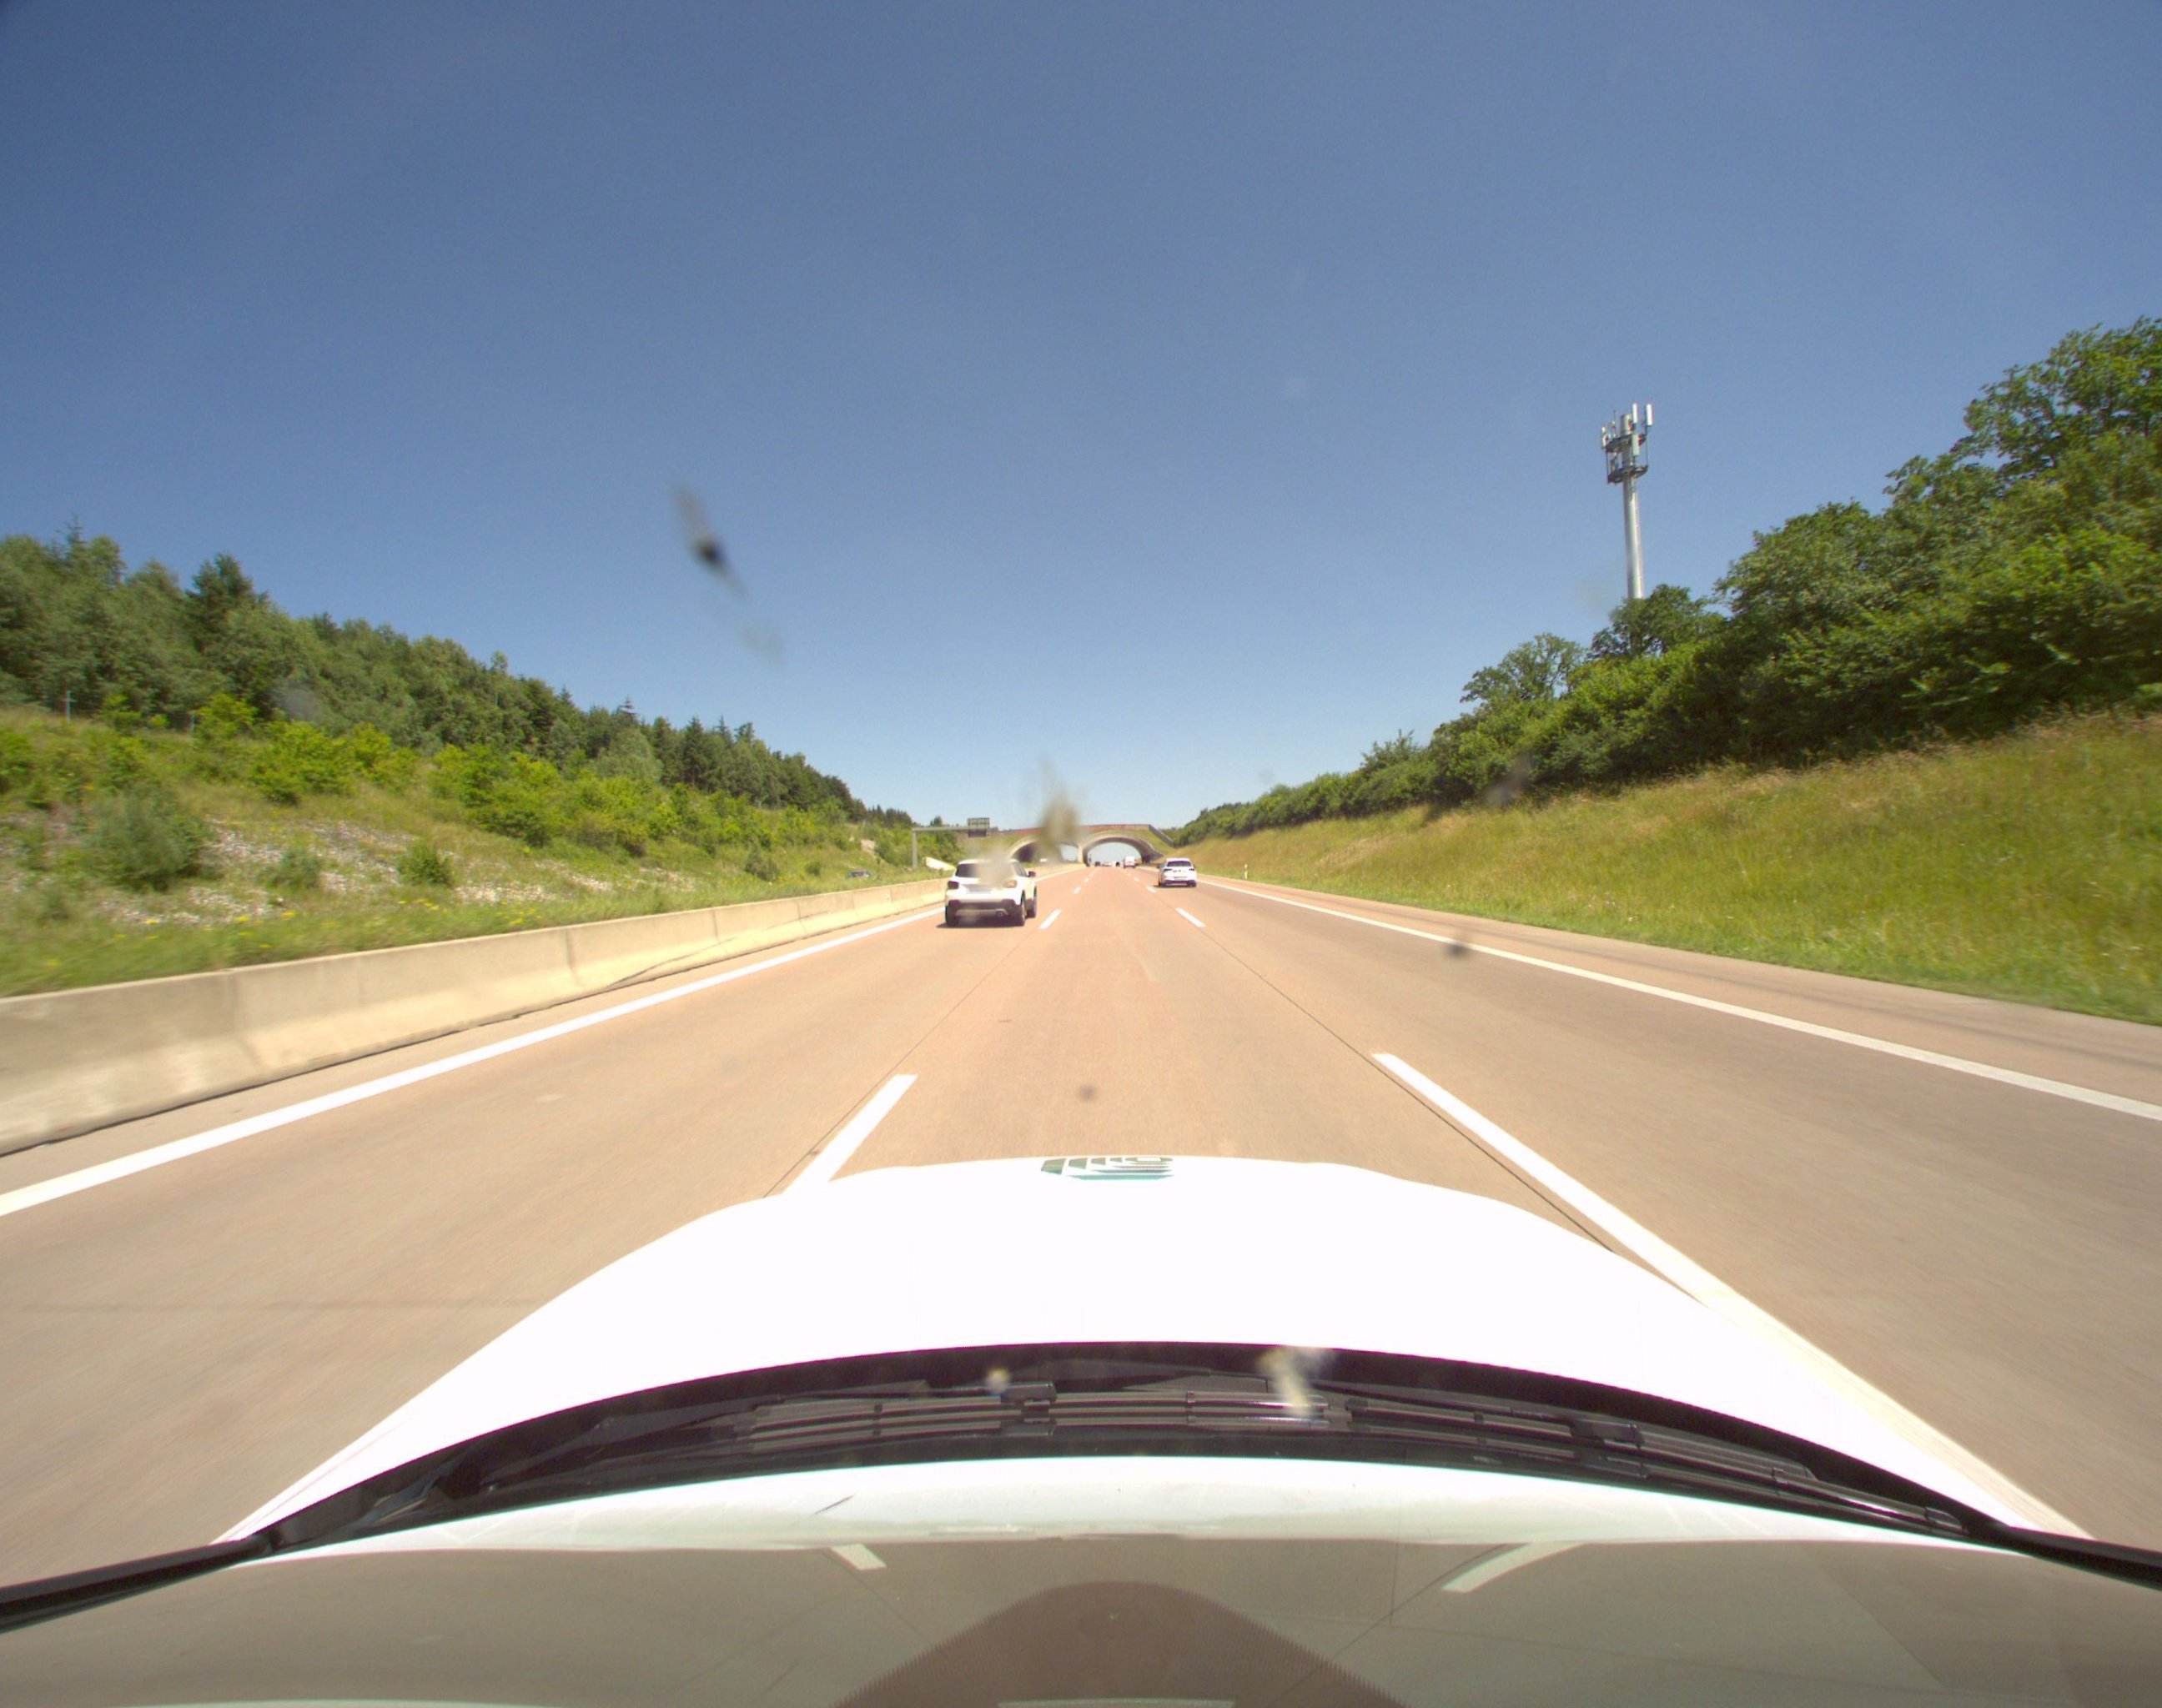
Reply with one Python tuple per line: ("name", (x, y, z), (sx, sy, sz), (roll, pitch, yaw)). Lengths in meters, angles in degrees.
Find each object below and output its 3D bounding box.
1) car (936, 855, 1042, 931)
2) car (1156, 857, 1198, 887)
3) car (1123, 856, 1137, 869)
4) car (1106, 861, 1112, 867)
("car", (-2.100, 0.847, 19.930), (1.872, 1.607, 4.836), (-1, 0, 2))
("car", (4.859, 0.886, 41.663), (1.882, 1.398, 4.004), (0, 0, 4))
("car", (7.966, 1.358, 132.486), (2.101, 2.054, 4.004), (-1, 1, 4))
("car", (8.029, 2.814, 232.972), (1.883, 1.463, 4.002), (0, 0, 2))
